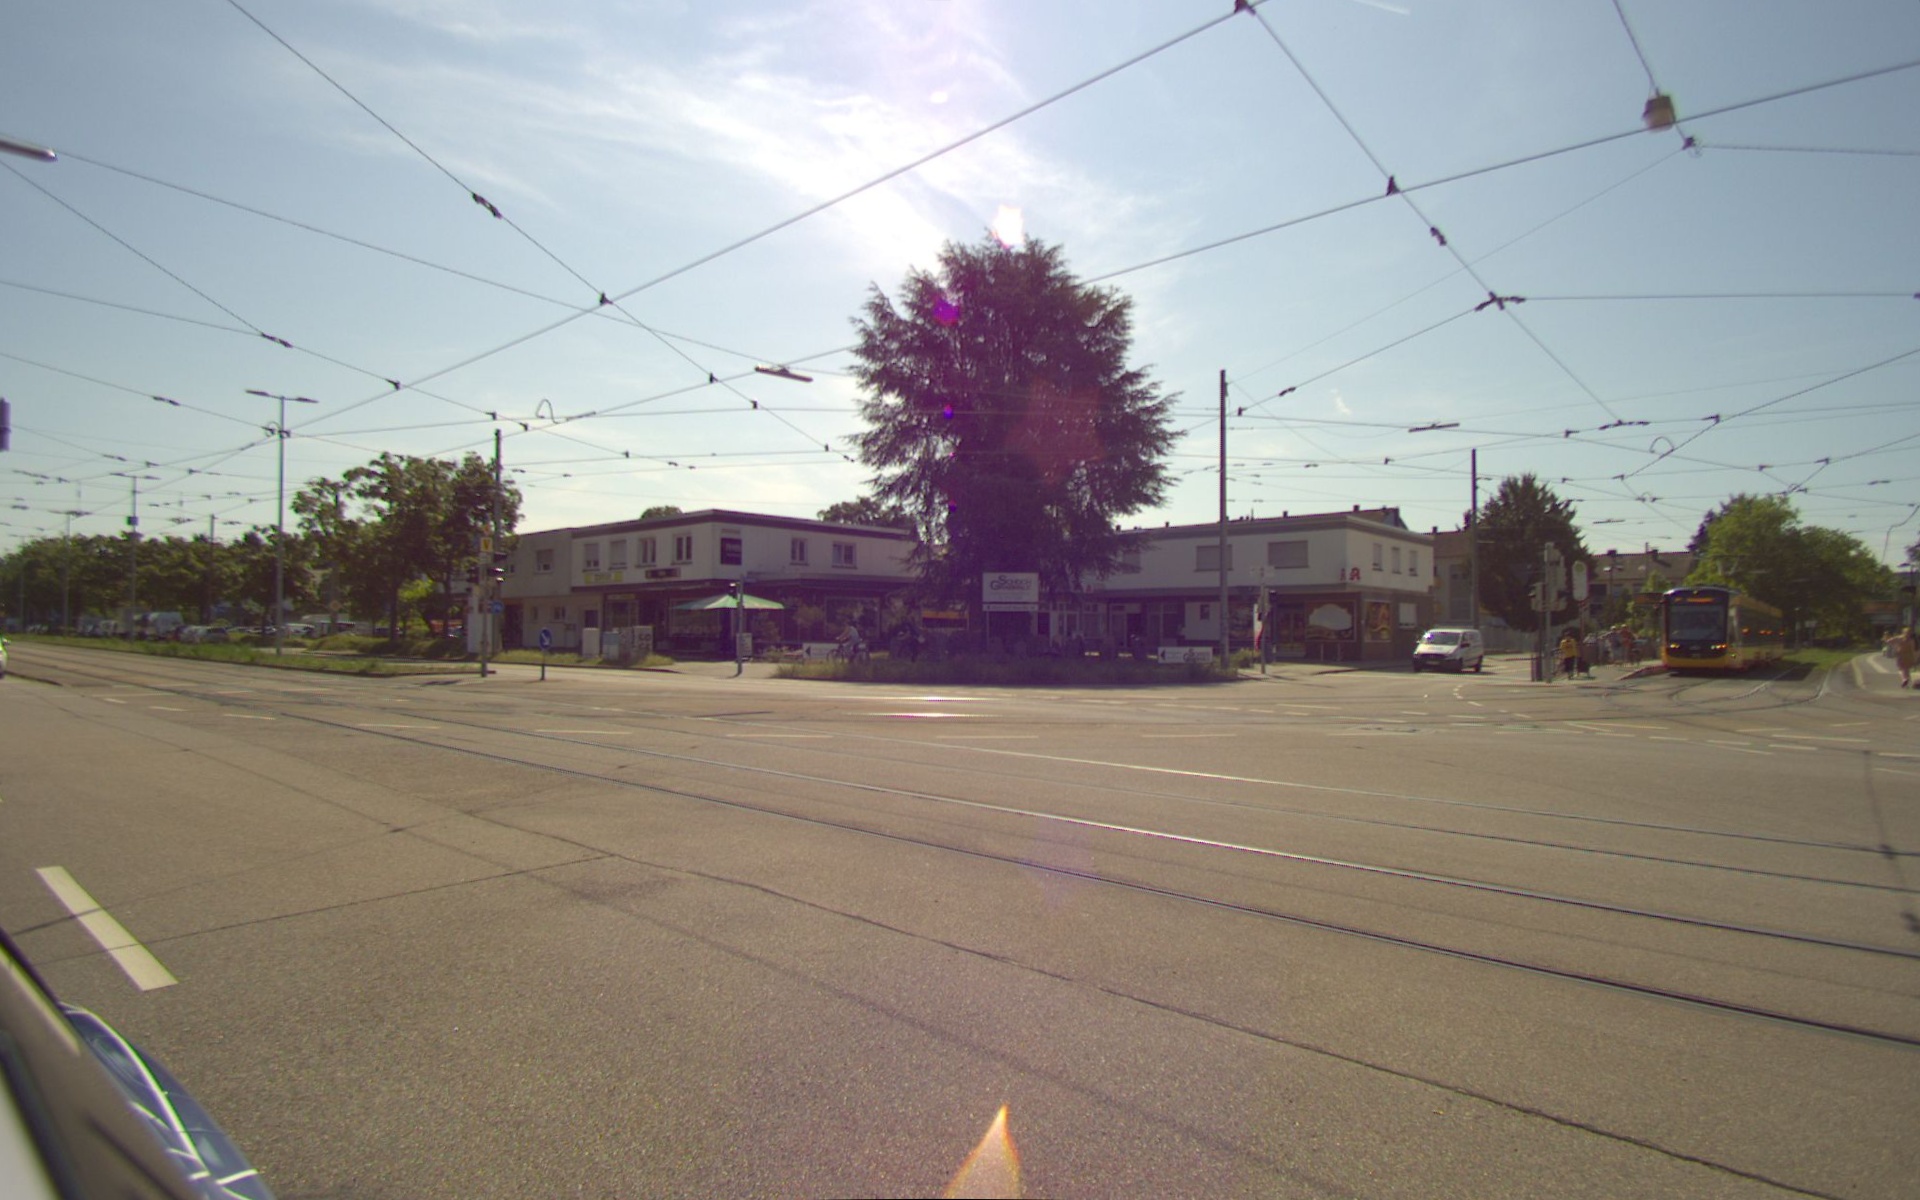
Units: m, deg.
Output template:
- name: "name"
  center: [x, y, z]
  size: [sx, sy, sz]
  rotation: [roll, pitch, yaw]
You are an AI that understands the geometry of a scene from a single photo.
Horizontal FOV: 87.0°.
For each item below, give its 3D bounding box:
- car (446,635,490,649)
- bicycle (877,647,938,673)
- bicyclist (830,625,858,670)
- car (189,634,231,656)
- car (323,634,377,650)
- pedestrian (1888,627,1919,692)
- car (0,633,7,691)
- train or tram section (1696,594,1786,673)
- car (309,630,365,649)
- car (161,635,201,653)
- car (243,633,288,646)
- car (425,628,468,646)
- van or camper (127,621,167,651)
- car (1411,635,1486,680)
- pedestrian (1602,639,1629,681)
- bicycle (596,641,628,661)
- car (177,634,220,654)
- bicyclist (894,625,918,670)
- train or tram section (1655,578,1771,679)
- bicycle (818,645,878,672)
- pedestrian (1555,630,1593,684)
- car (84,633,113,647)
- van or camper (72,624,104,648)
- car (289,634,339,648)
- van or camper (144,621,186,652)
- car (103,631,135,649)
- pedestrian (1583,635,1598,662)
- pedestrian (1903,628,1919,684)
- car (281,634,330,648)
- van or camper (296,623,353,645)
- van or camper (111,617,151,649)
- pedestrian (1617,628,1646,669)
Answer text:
- name: "car"
  center: [-49.173, 4.204, 101.136]
  size: [1.711, 1.372, 3.578]
  rotation: [-2, -3, 40]
- name: "bicycle"
  center: [-1.885, 2.159, 36.516]
  size: [2.113, 0.897, 0.574]
  rotation: [0, -3, 11]
- name: "bicyclist"
  center: [-4.152, 1.710, 36.297]
  size: [0.760, 1.570, 0.627]
  rotation: [0, -3, 21]
- name: "car"
  center: [-57.186, 3.397, 77.153]
  size: [4.285, 1.506, 1.867]
  rotation: [-2, 0, 43]
- name: "car"
  center: [-52.167, 3.583, 86.563]
  size: [1.711, 1.372, 3.578]
  rotation: [-2, -3, 40]
- name: "pedestrian"
  center: [27.681, 1.710, 29.301]
  size: [1.123, 1.850, 1.419]
  rotation: [-2, -3, 42]
- name: "car"
  center: [-28.292, 1.707, 28.484]
  size: [4.066, 1.573, 1.747]
  rotation: [-2, -4, 42]
- name: "train or tram section"
  center: [41.261, 1.808, 53.230]
  size: [2.768, 3.686, 13.716]
  rotation: [-2, -3, 41]
- name: "car"
  center: [-54.164, 3.430, 88.037]
  size: [1.949, 1.581, 3.701]
  rotation: [-2, -3, 40]
- name: "car"
  center: [-64.930, 3.642, 84.364]
  size: [4.231, 1.506, 1.868]
  rotation: [-2, -3, 42]
- name: "car"
  center: [-73.828, 4.207, 107.625]
  size: [1.711, 1.291, 3.578]
  rotation: [-2, -3, 40]
- name: "car"
  center: [-52.869, 3.851, 104.208]
  size: [1.711, 1.791, 3.578]
  rotation: [-2, -3, 40]
- name: "van or camper"
  center: [-74.370, 3.283, 92.541]
  size: [4.838, 2.652, 2.013]
  rotation: [-2, -3, 42]
- name: "car"
  center: [21.659, 2.510, 44.753]
  size: [1.776, 1.876, 4.595]
  rotation: [-2, -3, 42]
- name: "pedestrian"
  center: [25.897, 2.365, 40.002]
  size: [0.785, 1.639, 0.651]
  rotation: [-2, -4, 42]
- name: "bicycle"
  center: [-18.013, 2.633, 52.350]
  size: [1.911, 0.991, 0.750]
  rotation: [-2, -3, 42]
- name: "car"
  center: [-60.806, 3.523, 80.780]
  size: [4.284, 1.572, 1.868]
  rotation: [-2, -3, 42]
- name: "bicyclist"
  center: [-1.938, 1.717, 36.587]
  size: [0.757, 1.587, 0.630]
  rotation: [0, -2, 7]
- name: "train or tram section"
  center: [32.200, 1.315, 42.976]
  size: [2.768, 3.686, 13.716]
  rotation: [-2, -3, 41]
- name: "bicycle"
  center: [-4.004, 2.082, 36.191]
  size: [2.119, 0.954, 0.532]
  rotation: [-1, -3, 19]
- name: "pedestrian"
  center: [21.850, 2.020, 36.007]
  size: [0.896, 1.852, 1.185]
  rotation: [-2, -3, 42]
- name: "car"
  center: [-95.897, 4.466, 112.595]
  size: [4.231, 1.572, 1.868]
  rotation: [-2, -3, 42]
- name: "van or camper"
  center: [-100.645, 4.157, 116.768]
  size: [5.451, 2.639, 2.086]
  rotation: [-1, -4, 42]
- name: "car"
  center: [-59.897, 3.819, 93.861]
  size: [1.811, 1.291, 3.578]
  rotation: [-2, -3, 40]
- name: "van or camper"
  center: [-69.075, 3.166, 87.882]
  size: [4.838, 2.652, 2.013]
  rotation: [-2, -3, 42]
- name: "car"
  center: [-86.328, 4.122, 103.897]
  size: [4.231, 1.748, 1.868]
  rotation: [-2, -3, 42]
- name: "pedestrian"
  center: [45.720, 3.503, 73.413]
  size: [0.768, 1.980, 0.851]
  rotation: [-2, -3, 40]
- name: "pedestrian"
  center: [30.398, 1.765, 32.006]
  size: [0.799, 1.773, 0.764]
  rotation: [3, -4, -44]
- name: "car"
  center: [-63.129, 3.940, 97.663]
  size: [1.711, 1.291, 3.578]
  rotation: [-2, -3, 40]
- name: "van or camper"
  center: [-83.912, 4.521, 133.713]
  size: [2.300, 2.751, 5.999]
  rotation: [-2, -3, 44]
- name: "van or camper"
  center: [-80.200, 3.244, 97.867]
  size: [5.279, 3.008, 2.100]
  rotation: [-2, -3, 42]
- name: "pedestrian"
  center: [27.792, 1.998, 41.889]
  size: [0.813, 1.693, 1.078]
  rotation: [-2, -3, 42]
